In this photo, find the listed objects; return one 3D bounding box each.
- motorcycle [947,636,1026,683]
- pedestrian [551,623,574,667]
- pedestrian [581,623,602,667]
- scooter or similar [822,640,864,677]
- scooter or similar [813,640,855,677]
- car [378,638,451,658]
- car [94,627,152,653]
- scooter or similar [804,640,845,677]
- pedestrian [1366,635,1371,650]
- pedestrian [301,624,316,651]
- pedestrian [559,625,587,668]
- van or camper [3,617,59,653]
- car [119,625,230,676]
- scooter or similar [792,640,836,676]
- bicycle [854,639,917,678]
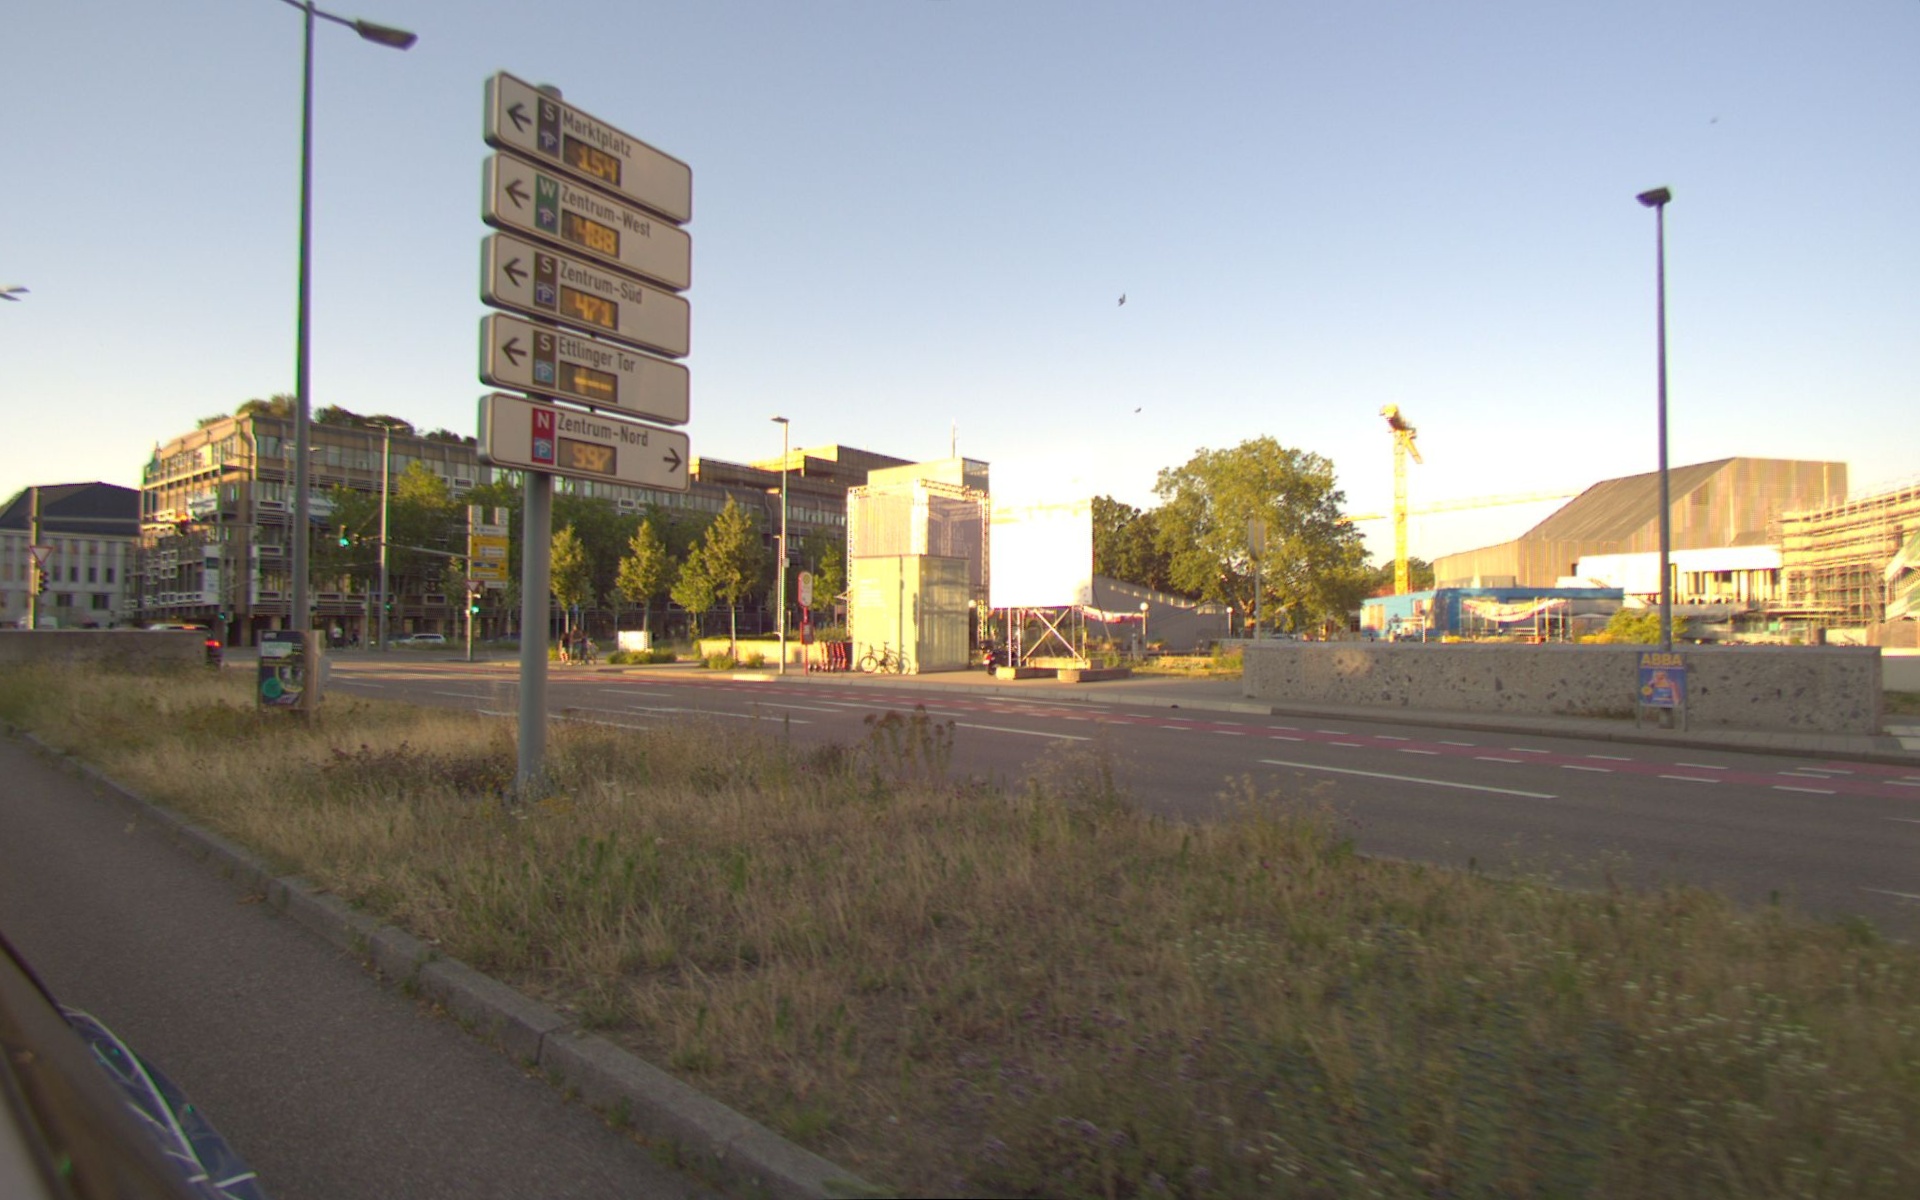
[{"bbox_3d":[0.926,1.946,33.629,0.839,1.393,3.201,-1,-1,39],"label":"motorcycle"},{"bbox_3d":[-17.803,2.007,45.281,0.775,1.948,0.625,-1,-3,40],"label":"pedestrian"},{"bbox_3d":[-16.461,2.024,45.240,0.647,1.948,0.652,-3,-4,42],"label":"pedestrian"},{"bbox_3d":[-4.257,2.118,36.900,0.422,1.315,1.819,-1,-3,35],"label":"scooter or similar"},{"bbox_3d":[-4.612,2.132,37.163,0.422,1.315,1.814,-1,-3,35],"label":"scooter or similar"},{"bbox_3d":[-46.235,4.053,85.885,1.999,1.597,5.094,-3,-3,40],"label":"car"},{"bbox_3d":[-52.848,2.520,63.901,3.986,1.538,1.622,-1,-3,32],"label":"car"},{"bbox_3d":[-4.996,2.147,37.457,0.416,1.315,1.772,-1,-3,35],"label":"scooter or similar"},{"bbox_3d":[39.219,4.044,97.105,0.380,1.418,0.572,-1,-2,20],"label":"pedestrian"},{"bbox_3d":[-45.792,2.631,71.097,0.680,1.946,0.636,-1,-3,38],"label":"pedestrian"},{"bbox_3d":[-17.029,2.050,44.503,0.775,1.851,0.862,-2,-3,42],"label":"pedestrian"},{"bbox_3d":[-72.623,2.766,79.083,6.154,2.687,2.205,-3,-4,38],"label":"van or camper"},{"bbox_3d":[-24.904,1.571,32.036,4.534,1.477,1.867,-2,-3,40],"label":"car"},{"bbox_3d":[-5.421,2.148,37.736,0.499,1.315,1.842,-1,-3,35],"label":"scooter or similar"},{"bbox_3d":[-2.643,2.047,35.711,2.507,1.334,0.611,-1,-3,40],"label":"bicycle"}]
